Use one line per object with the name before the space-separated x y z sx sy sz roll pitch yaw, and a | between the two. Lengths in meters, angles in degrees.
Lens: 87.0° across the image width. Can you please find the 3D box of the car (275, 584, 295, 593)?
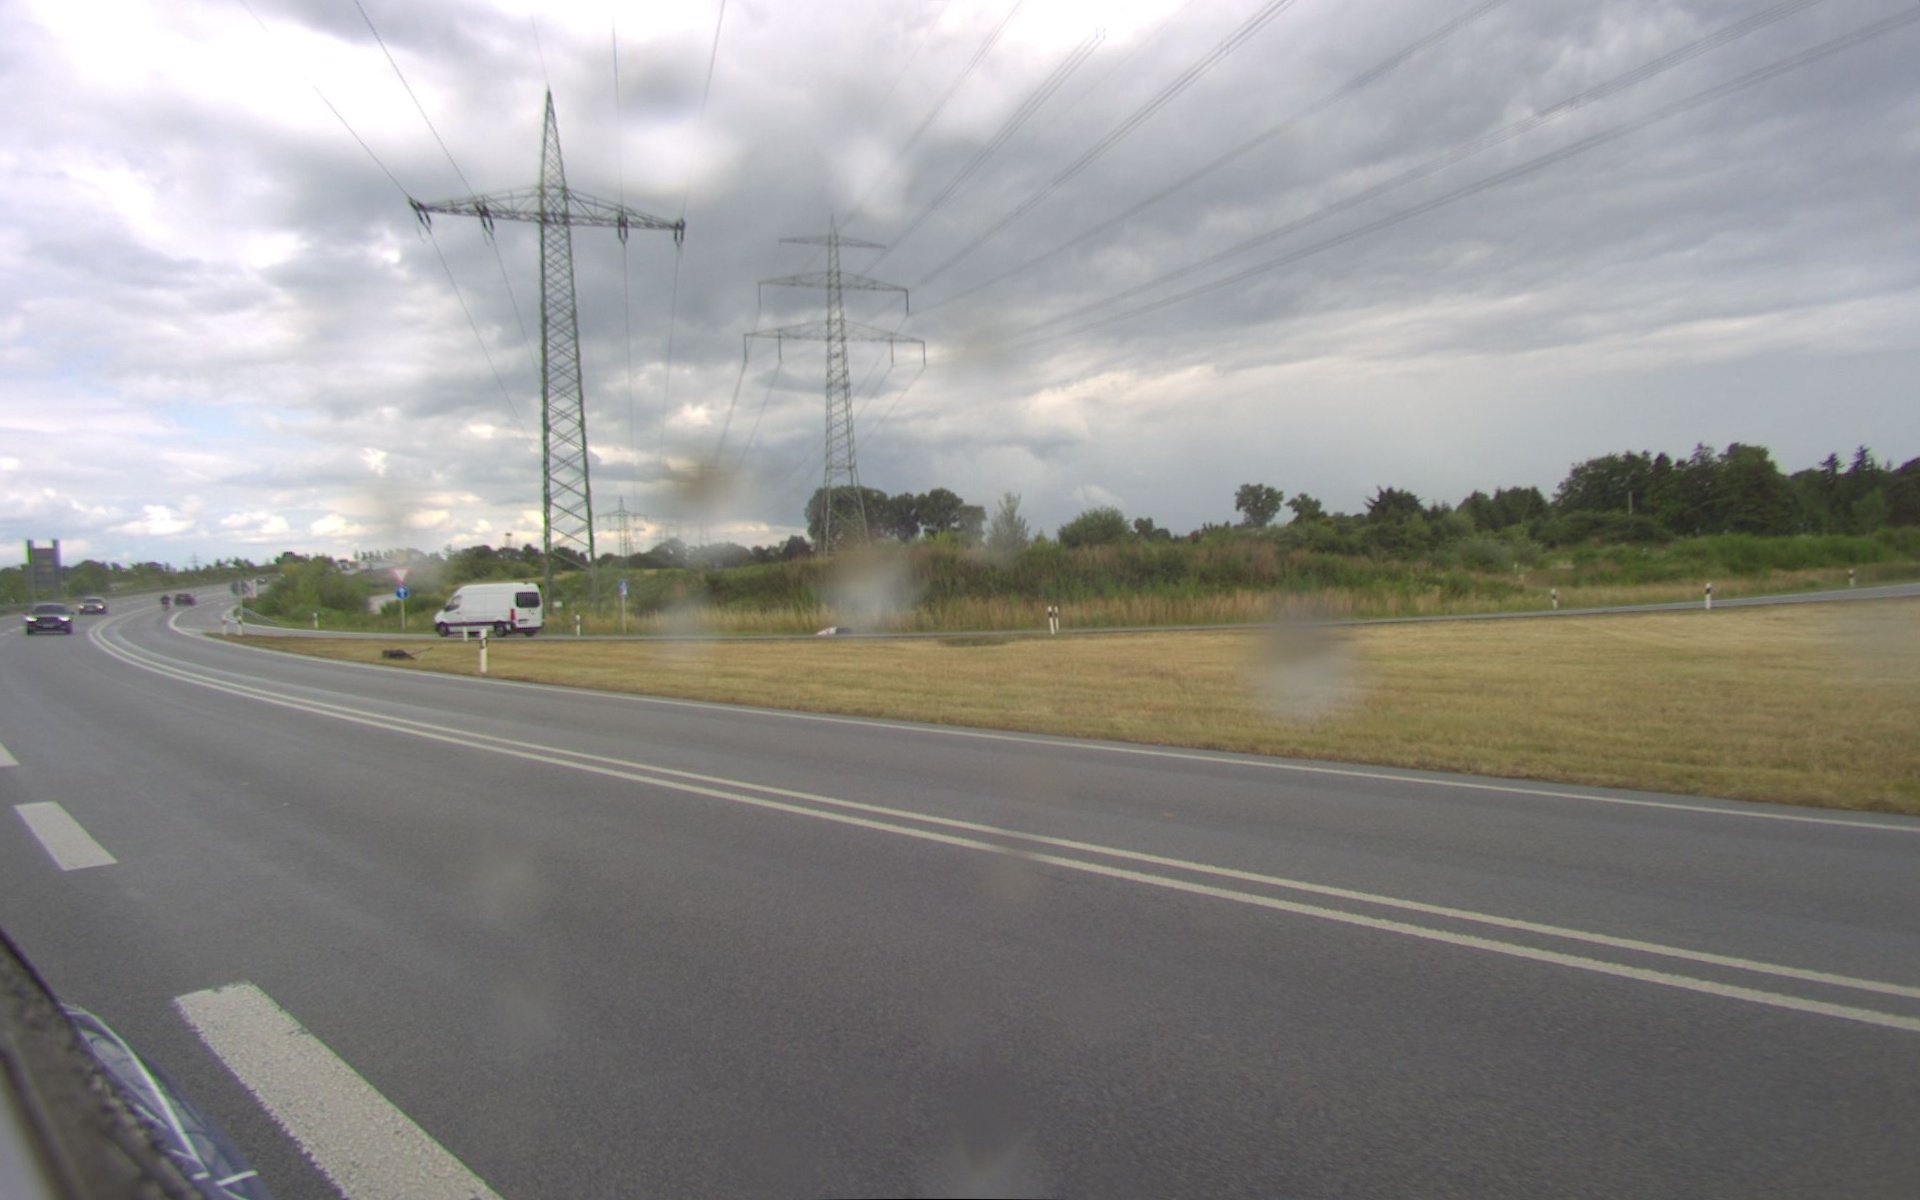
car | -126.501 -2.120 189.708 1.775 1.586 4.271 1 1 -13

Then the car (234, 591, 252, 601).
car | -116.570 -0.689 164.556 1.681 1.491 4.626 0 2 -26

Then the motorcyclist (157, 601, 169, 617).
motorcyclist | -78.204 0.861 99.271 0.791 1.546 0.827 -1 0 -32

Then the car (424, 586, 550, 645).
car | -23.568 0.700 50.434 5.979 2.770 2.199 0 2 22

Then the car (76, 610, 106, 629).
car | -77.186 1.711 89.897 1.721 1.508 4.059 -2 1 -37

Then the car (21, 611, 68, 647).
car | -49.548 1.521 54.757 1.770 1.782 4.004 -2 1 -43

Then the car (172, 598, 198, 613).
car | -88.540 0.626 115.650 1.775 1.606 4.238 0 0 -30

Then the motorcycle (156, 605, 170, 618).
motorcycle | -78.247 1.127 99.362 0.791 1.247 2.191 -1 0 -32
